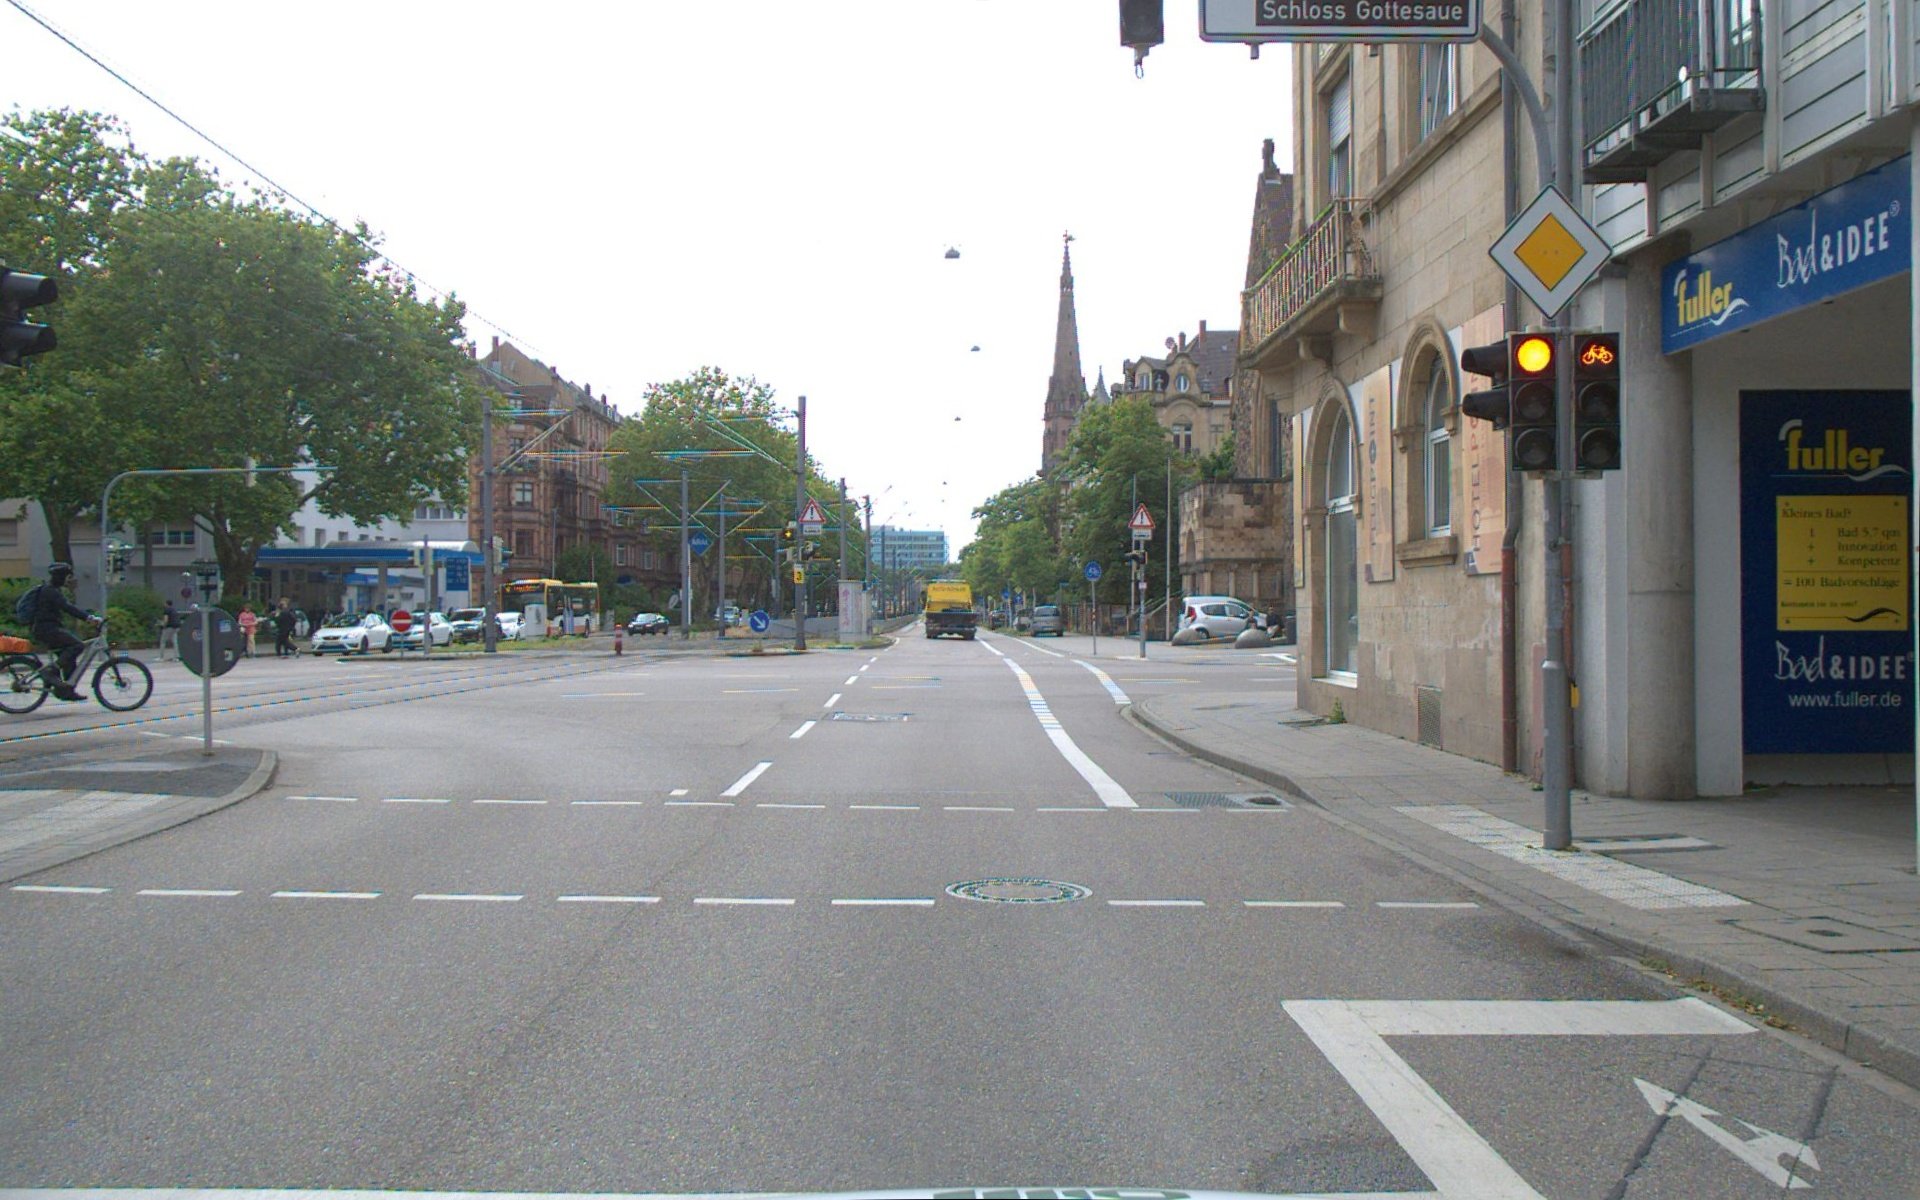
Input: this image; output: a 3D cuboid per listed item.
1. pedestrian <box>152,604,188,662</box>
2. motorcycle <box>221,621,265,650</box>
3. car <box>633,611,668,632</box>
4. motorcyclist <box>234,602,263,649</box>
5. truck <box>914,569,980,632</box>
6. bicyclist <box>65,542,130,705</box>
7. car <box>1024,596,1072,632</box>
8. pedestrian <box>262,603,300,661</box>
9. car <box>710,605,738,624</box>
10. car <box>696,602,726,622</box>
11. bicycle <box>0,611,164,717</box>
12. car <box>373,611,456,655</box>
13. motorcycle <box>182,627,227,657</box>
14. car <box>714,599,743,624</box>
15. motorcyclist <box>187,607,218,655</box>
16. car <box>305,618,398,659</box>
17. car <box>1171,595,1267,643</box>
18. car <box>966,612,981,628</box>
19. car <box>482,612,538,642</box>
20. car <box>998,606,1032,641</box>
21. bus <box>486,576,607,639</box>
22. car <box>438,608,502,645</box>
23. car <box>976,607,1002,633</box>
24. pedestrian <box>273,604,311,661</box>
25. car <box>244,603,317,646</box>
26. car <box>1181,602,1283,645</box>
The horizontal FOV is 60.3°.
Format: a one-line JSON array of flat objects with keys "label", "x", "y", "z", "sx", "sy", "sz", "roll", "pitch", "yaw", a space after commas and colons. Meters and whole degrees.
[{"label": "pedestrian", "x": -23.804, "y": 0.985, "z": 49.853, "sx": 0.669, "sy": 1.720, "sz": 0.742, "roll": 1, "pitch": -1, "yaw": 4}, {"label": "motorcycle", "x": -23.689, "y": 1.165, "z": 54.667, "sx": 0.594, "sy": 0.945, "sz": 1.951, "roll": 0, "pitch": 0, "yaw": 0}, {"label": "car", "x": -20.820, "y": 1.431, "z": 111.367, "sx": 1.622, "sy": 1.344, "sz": 3.638, "roll": 1, "pitch": 0, "yaw": 1}, {"label": "motorcyclist", "x": -23.658, "y": 0.855, "z": 55.002, "sx": 0.607, "sy": 1.546, "sz": 0.873, "roll": 0, "pitch": 0, "yaw": -1}, {"label": "truck", "x": -0.705, "y": 0.030, "z": 79.527, "sx": 2.993, "sy": 2.817, "sz": 9.812, "roll": 0, "pitch": 0, "yaw": -1}, {"label": "bicyclist", "x": -11.091, "y": 0.294, "z": 21.262, "sx": 0.684, "sy": 2.049, "sz": 0.775, "roll": 1, "pitch": -1, "yaw": -29}, {"label": "car", "x": 4.816, "y": 0.765, "z": 90.042, "sx": 1.951, "sy": 1.888, "sz": 4.030, "roll": 1, "pitch": 0, "yaw": 12}, {"label": "pedestrian", "x": -20.732, "y": 0.963, "z": 50.490, "sx": 0.849, "sy": 1.743, "sz": 0.691, "roll": 0, "pitch": 0, "yaw": 3}, {"label": "car", "x": -21.270, "y": 1.325, "z": 148.958, "sx": 1.953, "sy": 1.639, "sz": 3.999, "roll": 1, "pitch": 0, "yaw": -1}, {"label": "car", "x": -21.223, "y": 1.015, "z": 141.177, "sx": 1.953, "sy": 1.639, "sz": 3.999, "roll": 1, "pitch": 0, "yaw": -1}, {"label": "bicycle", "x": -11.217, "y": 0.802, "z": 20.967, "sx": 1.970, "sy": 1.294, "sz": 0.743, "roll": 1, "pitch": -1, "yaw": -31}, {"label": "car", "x": -21.422, "y": 1.284, "z": 65.123, "sx": 1.953, "sy": 1.622, "sz": 3.999, "roll": 1, "pitch": 0, "yaw": -1}, {"label": "motorcycle", "x": -24.678, "y": 1.367, "z": 54.072, "sx": 0.594, "sy": 0.945, "sz": 1.951, "roll": 0, "pitch": 0, "yaw": 0}, {"label": "car", "x": -19.744, "y": 0.951, "z": 141.124, "sx": 1.953, "sy": 2.049, "sz": 3.999, "roll": 1, "pitch": 0, "yaw": -1}, {"label": "motorcyclist", "x": -24.676, "y": 0.991, "z": 53.902, "sx": 0.607, "sy": 1.546, "sz": 0.873, "roll": 0, "pitch": 0, "yaw": -1}, {"label": "car", "x": -21.437, "y": 1.328, "z": 58.440, "sx": 1.711, "sy": 1.344, "sz": 4.075, "roll": 1, "pitch": 0, "yaw": 1}, {"label": "car", "x": 10.692, "y": 0.790, "z": 68.552, "sx": 3.638, "sy": 1.888, "sz": 2.000, "roll": 1, "pitch": 0, "yaw": -1}, {"label": "car", "x": 1.766, "y": 2.645, "z": 216.819, "sx": 1.953, "sy": 2.049, "sz": 3.999, "roll": 1, "pitch": 0, "yaw": -1}, {"label": "car", "x": -21.378, "y": 1.280, "z": 78.695, "sx": 1.622, "sy": 1.344, "sz": 3.638, "roll": 1, "pitch": 0, "yaw": 1}, {"label": "car", "x": 3.289, "y": 1.414, "z": 99.679, "sx": 1.952, "sy": 2.049, "sz": 4.000, "roll": 1, "pitch": 0, "yaw": 1}, {"label": "bus", "x": -21.965, "y": 0.413, "z": 88.749, "sx": 3.164, "sy": 3.088, "sz": 12.312, "roll": 1, "pitch": 0, "yaw": 1}, {"label": "car", "x": -21.222, "y": 1.135, "z": 71.776, "sx": 1.622, "sy": 1.504, "sz": 3.638, "roll": 1, "pitch": 0, "yaw": 1}, {"label": "car", "x": 2.376, "y": 1.618, "z": 136.104, "sx": 1.953, "sy": 2.049, "sz": 3.999, "roll": 1, "pitch": 0, "yaw": -1}, {"label": "pedestrian", "x": -20.753, "y": 1.010, "z": 51.371, "sx": 0.854, "sy": 1.743, "sz": 0.875, "roll": 0, "pitch": 0, "yaw": -4}, {"label": "car", "x": -33.021, "y": 1.159, "z": 80.455, "sx": 1.953, "sy": 2.049, "sz": 3.999, "roll": 0, "pitch": 0, "yaw": -1}, {"label": "car", "x": 10.676, "y": 0.922, "z": 65.107, "sx": 3.638, "sy": 1.591, "sz": 2.000, "roll": 1, "pitch": 0, "yaw": -1}]
